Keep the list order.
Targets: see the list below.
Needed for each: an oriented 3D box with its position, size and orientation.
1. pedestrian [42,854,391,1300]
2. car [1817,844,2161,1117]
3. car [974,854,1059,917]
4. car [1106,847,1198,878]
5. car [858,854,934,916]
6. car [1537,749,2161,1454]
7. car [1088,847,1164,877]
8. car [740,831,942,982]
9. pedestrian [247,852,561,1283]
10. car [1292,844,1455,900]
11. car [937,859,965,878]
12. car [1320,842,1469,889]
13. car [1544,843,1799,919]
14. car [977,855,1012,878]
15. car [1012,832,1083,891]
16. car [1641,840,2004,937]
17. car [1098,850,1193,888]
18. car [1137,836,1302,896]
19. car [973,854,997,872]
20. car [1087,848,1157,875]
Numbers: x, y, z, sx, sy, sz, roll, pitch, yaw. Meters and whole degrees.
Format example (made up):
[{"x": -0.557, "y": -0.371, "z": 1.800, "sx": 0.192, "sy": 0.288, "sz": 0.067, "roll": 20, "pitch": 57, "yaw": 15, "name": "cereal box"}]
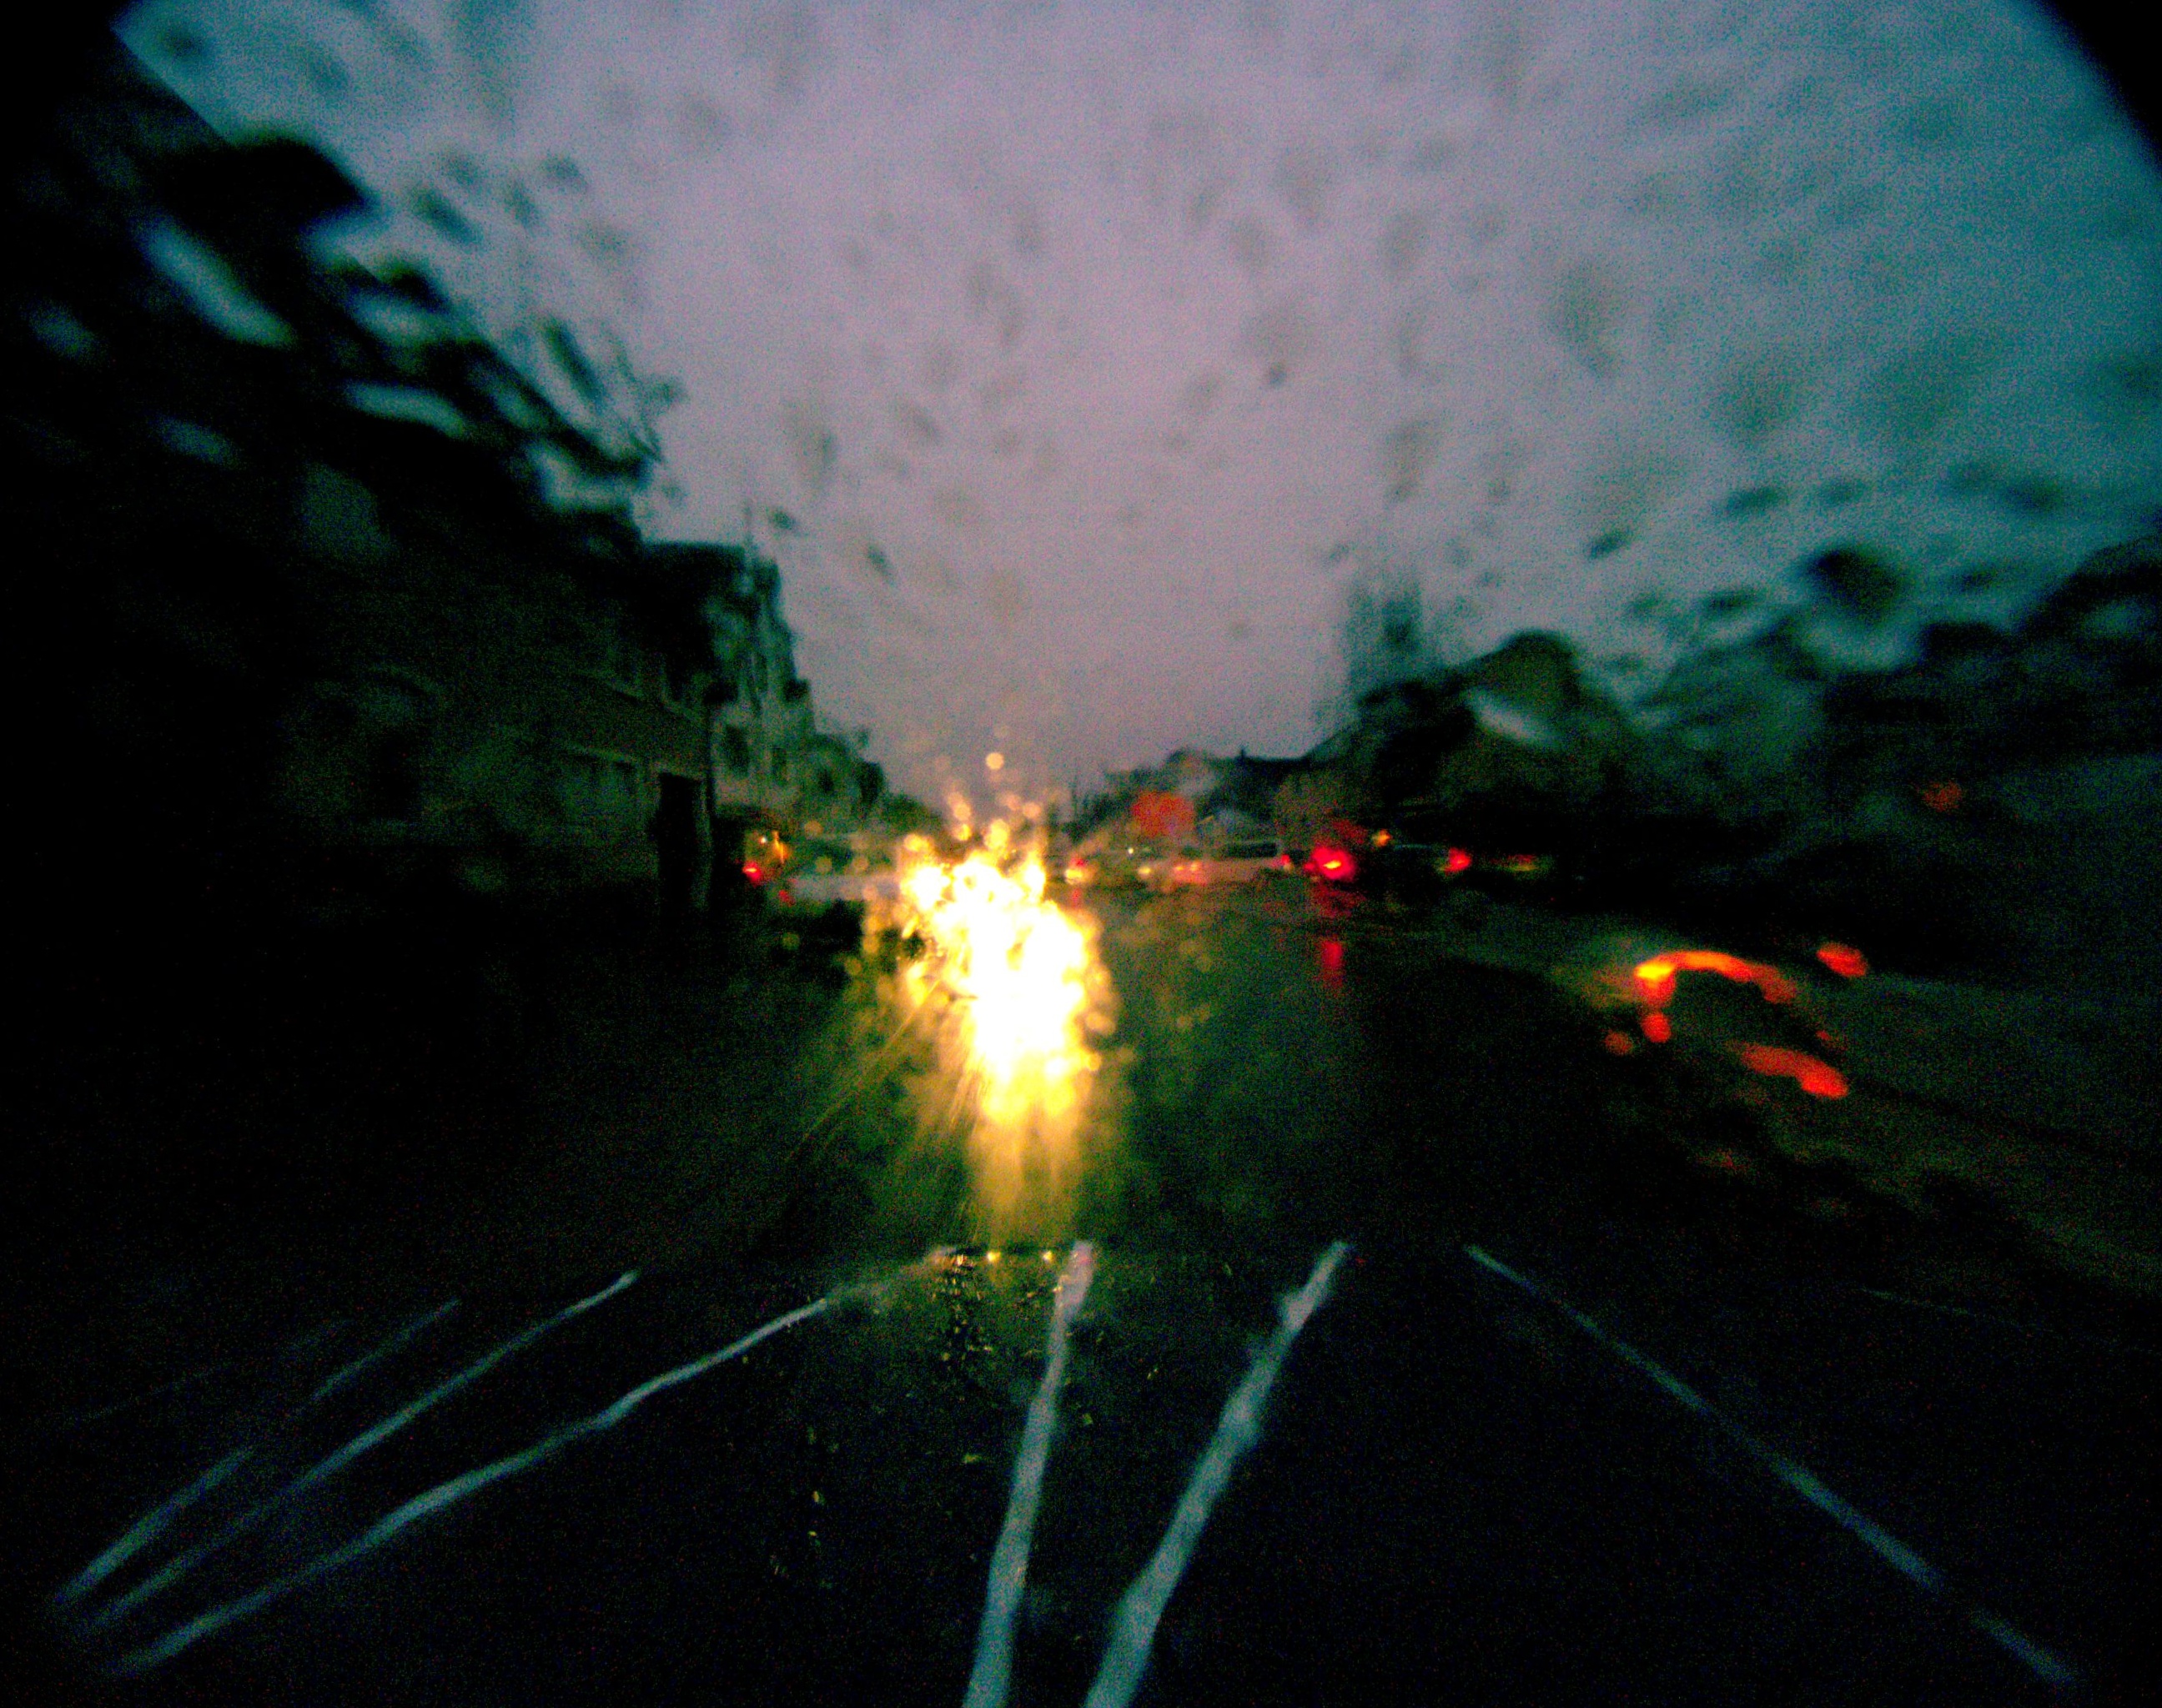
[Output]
[{"x": -3.604, "y": 0.834, "z": 3.257, "sx": 0.581, "sy": 1.659, "sz": 0.791, "roll": 0, "pitch": 1, "yaw": -7, "name": "pedestrian"}, {"x": 7.151, "y": 0.713, "z": 4.118, "sx": 1.911, "sy": 1.524, "sz": 4.253, "roll": -2, "pitch": 0, "yaw": -8, "name": "car"}, {"x": -2.080, "y": 0.867, "z": 23.286, "sx": 2.271, "sy": 1.633, "sz": 5.062, "roll": -2, "pitch": 1, "yaw": -7, "name": "car"}, {"x": 4.054, "y": 0.486, "z": 43.841, "sx": 4.882, "sy": 1.674, "sz": 1.998, "roll": -1, "pitch": -1, "yaw": -10, "name": "car"}, {"x": -5.421, "y": 0.844, "z": 22.703, "sx": 1.981, "sy": 1.651, "sz": 4.455, "roll": -1, "pitch": 0, "yaw": -11, "name": "car"}, {"x": 3.654, "y": 0.623, "z": 2.042, "sx": 1.950, "sy": 1.740, "sz": 4.850, "roll": 1, "pitch": 0, "yaw": 1, "name": "car"}, {"x": 2.877, "y": 0.487, "z": 49.059, "sx": 4.519, "sy": 1.855, "sz": 1.866, "roll": -1, "pitch": 0, "yaw": -13, "name": "car"}, {"x": -3.596, "y": 0.692, "z": 12.437, "sx": 1.978, "sy": 1.948, "sz": 4.850, "roll": -1, "pitch": 0, "yaw": -3, "name": "car"}, {"x": -2.959, "y": 0.837, "z": 3.431, "sx": 0.715, "sy": 1.689, "sz": 0.803, "roll": -1, "pitch": 1, "yaw": -10, "name": "pedestrian"}, {"x": 9.353, "y": 0.521, "z": 24.469, "sx": 4.450, "sy": 1.623, "sz": 2.153, "roll": -1, "pitch": 1, "yaw": -11, "name": "car"}, {"x": -8.987, "y": 0.943, "z": 52.258, "sx": 1.666, "sy": 1.205, "sz": 3.773, "roll": -1, "pitch": 0, "yaw": -13, "name": "car"}, {"x": 11.653, "y": 0.440, "z": 28.433, "sx": 4.767, "sy": 1.626, "sz": 2.000, "roll": 1, "pitch": -1, "yaw": -3, "name": "car"}, {"x": 12.178, "y": 0.533, "z": 16.010, "sx": 3.924, "sy": 1.450, "sz": 1.765, "roll": 0, "pitch": 0, "yaw": 23, "name": "car"}, {"x": -6.008, "y": 0.838, "z": 52.349, "sx": 1.832, "sy": 1.509, "sz": 4.543, "roll": 0, "pitch": 0, "yaw": -13, "name": "car"}, {"x": -1.711, "y": 0.326, "z": 35.746, "sx": 2.203, "sy": 2.476, "sz": 6.135, "roll": -1, "pitch": 0, "yaw": -13, "name": "car"}, {"x": 12.254, "y": 0.524, "z": 12.947, "sx": 4.064, "sy": 1.451, "sz": 1.760, "roll": -1, "pitch": 1, "yaw": 22, "name": "car"}, {"x": 2.995, "y": 0.669, "z": 35.543, "sx": 4.001, "sy": 1.674, "sz": 1.998, "roll": -1, "pitch": 0, "yaw": -12, "name": "car"}, {"x": 5.049, "y": 0.454, "z": 28.418, "sx": 5.774, "sy": 1.934, "sz": 1.991, "roll": -2, "pitch": 0, "yaw": 2, "name": "car"}, {"x": -8.151, "y": 0.749, "z": 63.992, "sx": 1.625, "sy": 1.471, "sz": 3.834, "roll": 0, "pitch": 0, "yaw": -13, "name": "car"}, {"x": 2.768, "y": 0.497, "z": 51.993, "sx": 4.429, "sy": 1.790, "sz": 1.842, "roll": -1, "pitch": 0, "yaw": -13, "name": "car"}]
